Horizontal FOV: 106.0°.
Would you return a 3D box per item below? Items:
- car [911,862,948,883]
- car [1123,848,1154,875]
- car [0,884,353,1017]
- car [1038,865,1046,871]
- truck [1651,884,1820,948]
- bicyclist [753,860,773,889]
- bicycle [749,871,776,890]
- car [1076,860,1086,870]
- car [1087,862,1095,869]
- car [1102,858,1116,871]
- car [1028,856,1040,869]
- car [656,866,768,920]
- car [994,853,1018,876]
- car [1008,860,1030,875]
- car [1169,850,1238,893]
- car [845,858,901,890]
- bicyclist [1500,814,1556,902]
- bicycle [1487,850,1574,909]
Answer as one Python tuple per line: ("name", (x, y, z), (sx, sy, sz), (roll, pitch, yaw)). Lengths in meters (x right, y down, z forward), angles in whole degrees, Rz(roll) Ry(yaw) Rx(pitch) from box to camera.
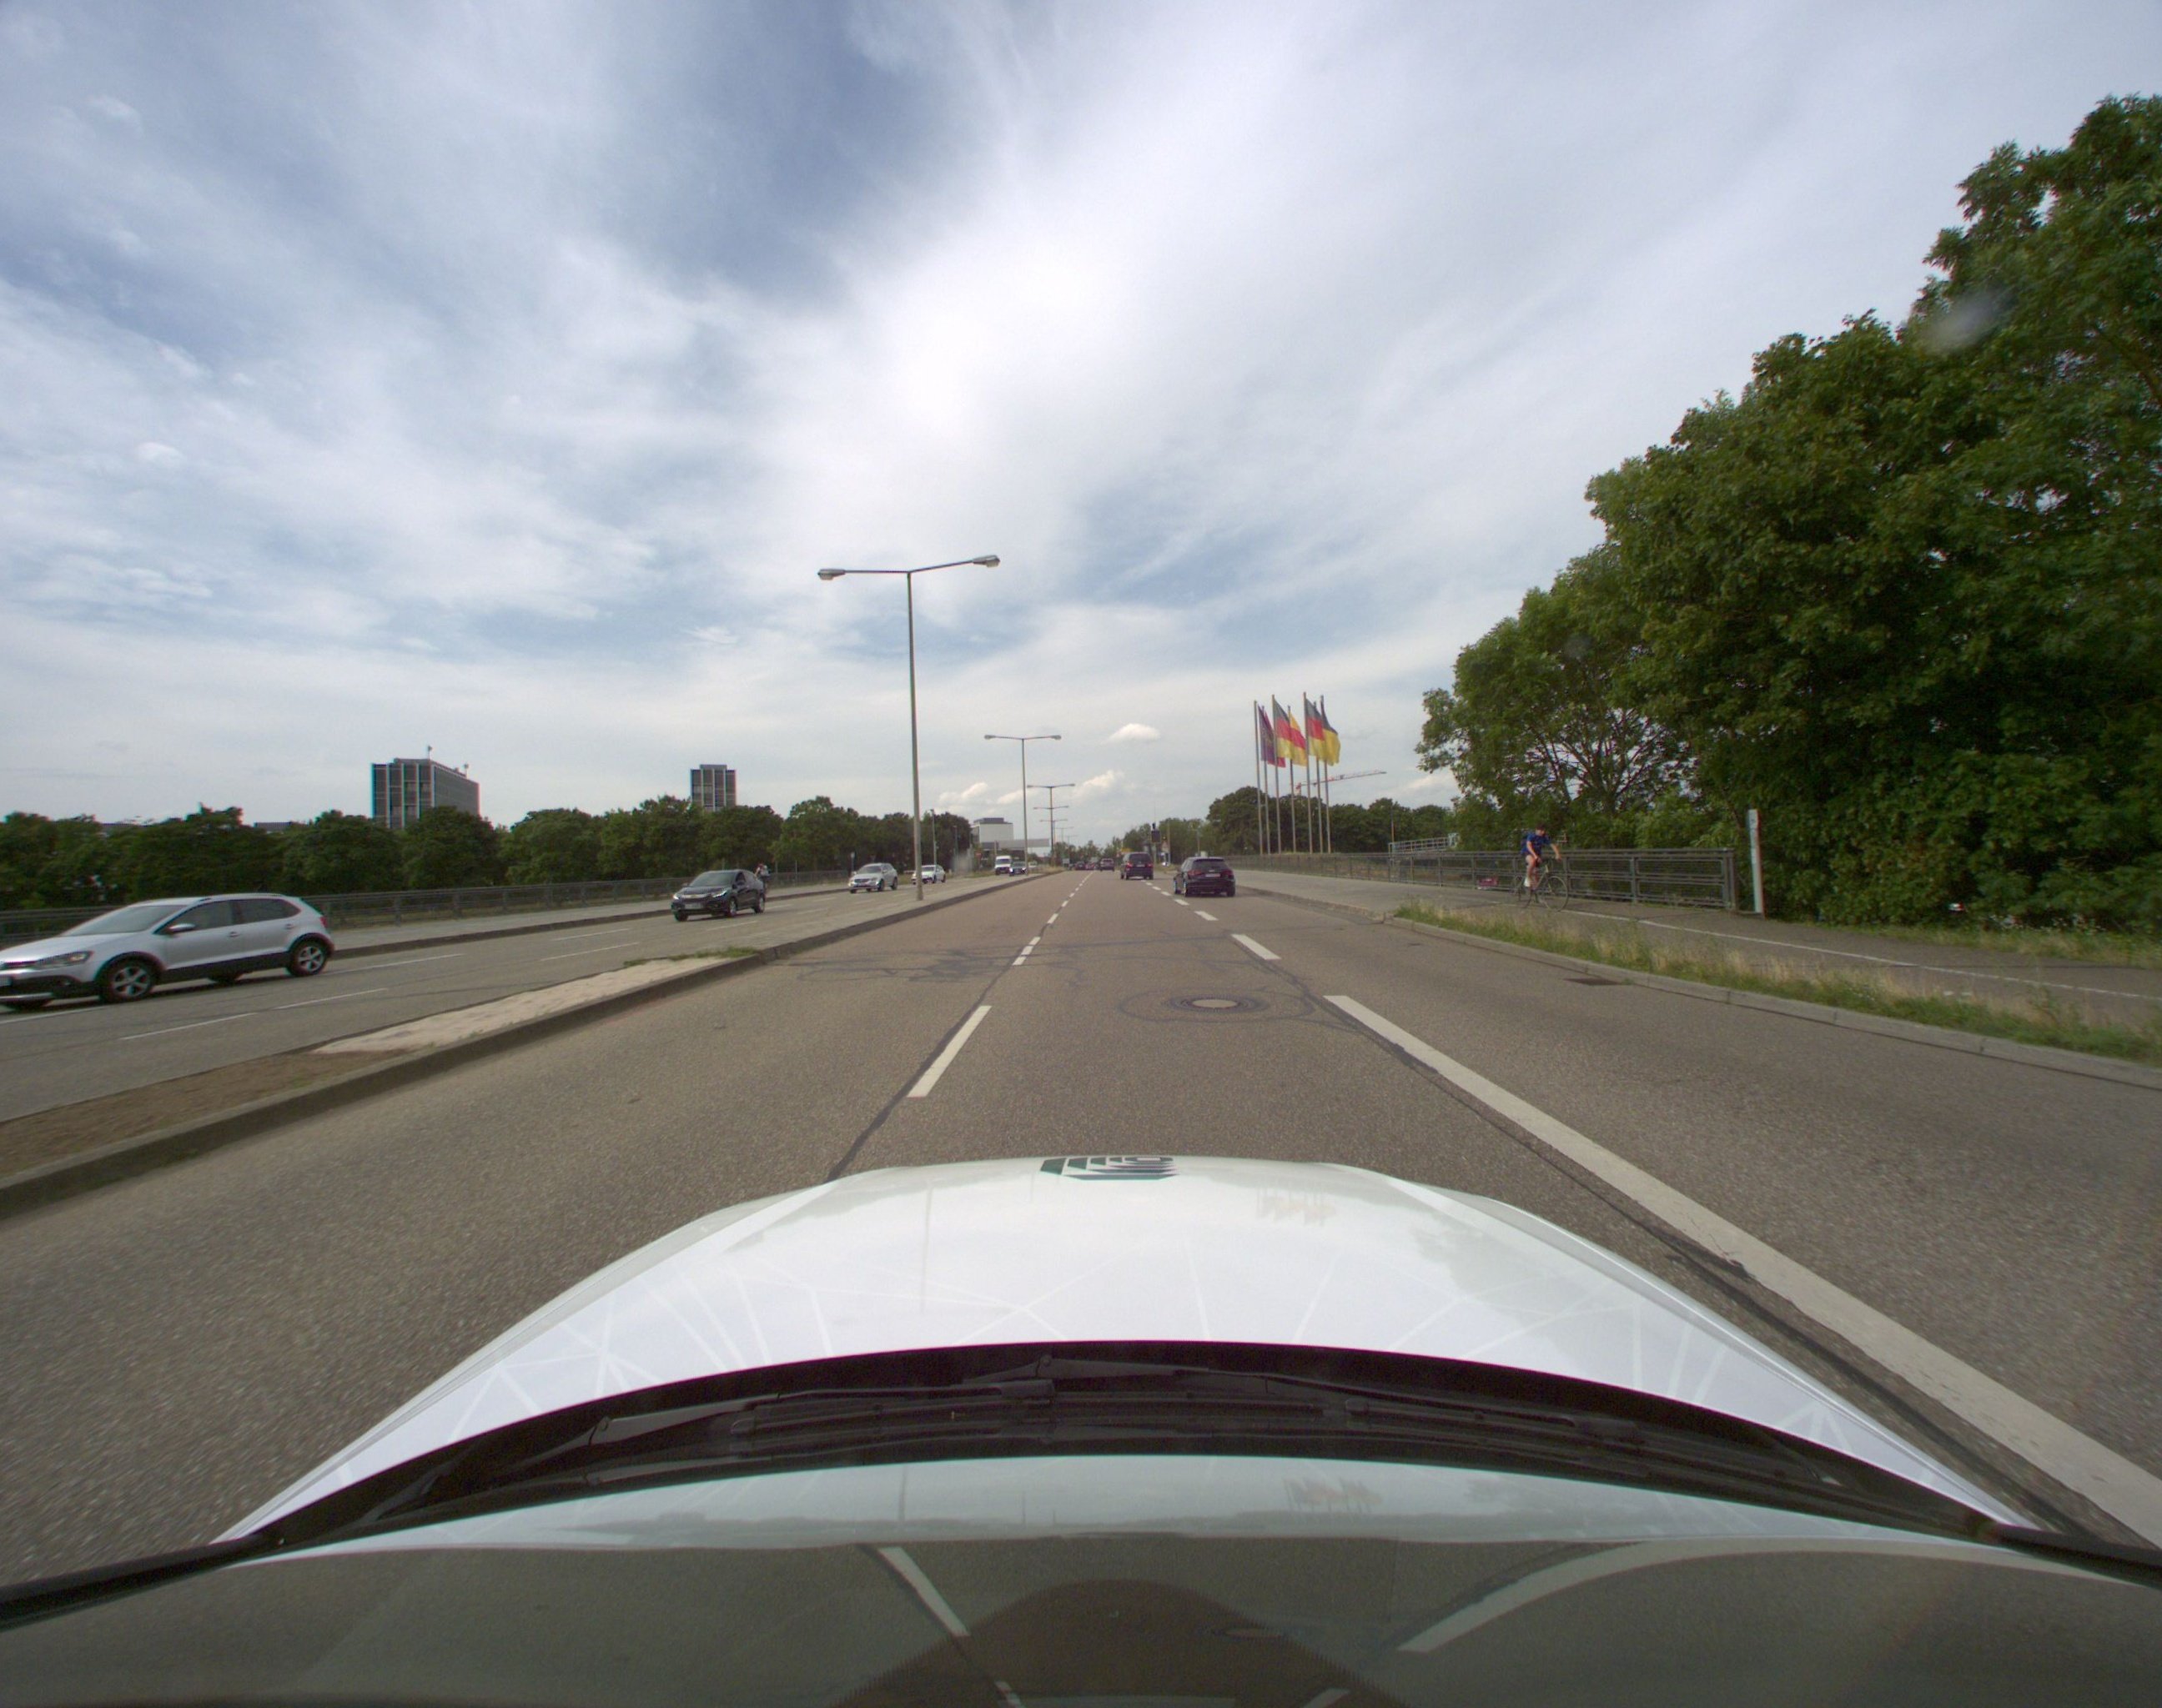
("car", (-11.967, 1.409, 64.470), (1.730, 1.480, 4.476), (-3, -1, 4))
("car", (3.624, 0.492, 51.809), (1.725, 1.653, 4.114), (-1, -1, 0))
("car", (-14.076, 1.363, 12.680), (1.642, 1.515, 4.019), (-3, 0, 3))
("car", (-9.738, 3.462, 204.121), (1.740, 1.476, 4.563), (-3, -1, -1))
("truck", (44.444, 4.015, 55.095), (14.021, 3.618, 3.329), (0, 0, -26))
("bicyclist", (-17.955, 1.136, 46.001), (0.792, 1.626, 0.976), (-1, -1, -2))
("bicycle", (-17.975, 1.493, 45.979), (0.704, 1.049, 2.058), (-1, -1, -1))
("car", (-0.005, 1.991, 145.762), (1.725, 1.653, 4.114), (-1, -1, 0))
("car", (2.247, 2.658, 183.479), (1.725, 1.526, 4.114), (-1, -1, 0))
("car", (3.501, 1.341, 102.523), (1.725, 1.653, 4.114), (-1, -1, 0))
("car", (-7.622, 1.373, 132.726), (1.534, 1.871, 3.572), (-3, 0, 2))
("car", (-12.060, 1.233, 26.965), (1.734, 1.515, 4.313), (-3, -1, -1))
("car", (-9.540, 1.302, 103.929), (2.044, 2.643, 6.405), (-3, 0, 3))
("car", (-6.386, 1.399, 83.933), (1.732, 1.481, 4.776), (-3, -1, 1))
("car", (4.357, 0.639, 29.485), (1.726, 1.395, 4.111), (-2, -1, -2))
("car", (-12.396, 1.138, 48.871), (1.856, 1.725, 4.772), (-3, -1, 2))
("bicyclist", (8.734, 0.067, 15.952), (0.662, 1.659, 0.805), (-1, 1, 0))
("bicycle", (8.752, 0.457, 15.940), (0.575, 1.022, 1.976), (-4, 1, 1))
